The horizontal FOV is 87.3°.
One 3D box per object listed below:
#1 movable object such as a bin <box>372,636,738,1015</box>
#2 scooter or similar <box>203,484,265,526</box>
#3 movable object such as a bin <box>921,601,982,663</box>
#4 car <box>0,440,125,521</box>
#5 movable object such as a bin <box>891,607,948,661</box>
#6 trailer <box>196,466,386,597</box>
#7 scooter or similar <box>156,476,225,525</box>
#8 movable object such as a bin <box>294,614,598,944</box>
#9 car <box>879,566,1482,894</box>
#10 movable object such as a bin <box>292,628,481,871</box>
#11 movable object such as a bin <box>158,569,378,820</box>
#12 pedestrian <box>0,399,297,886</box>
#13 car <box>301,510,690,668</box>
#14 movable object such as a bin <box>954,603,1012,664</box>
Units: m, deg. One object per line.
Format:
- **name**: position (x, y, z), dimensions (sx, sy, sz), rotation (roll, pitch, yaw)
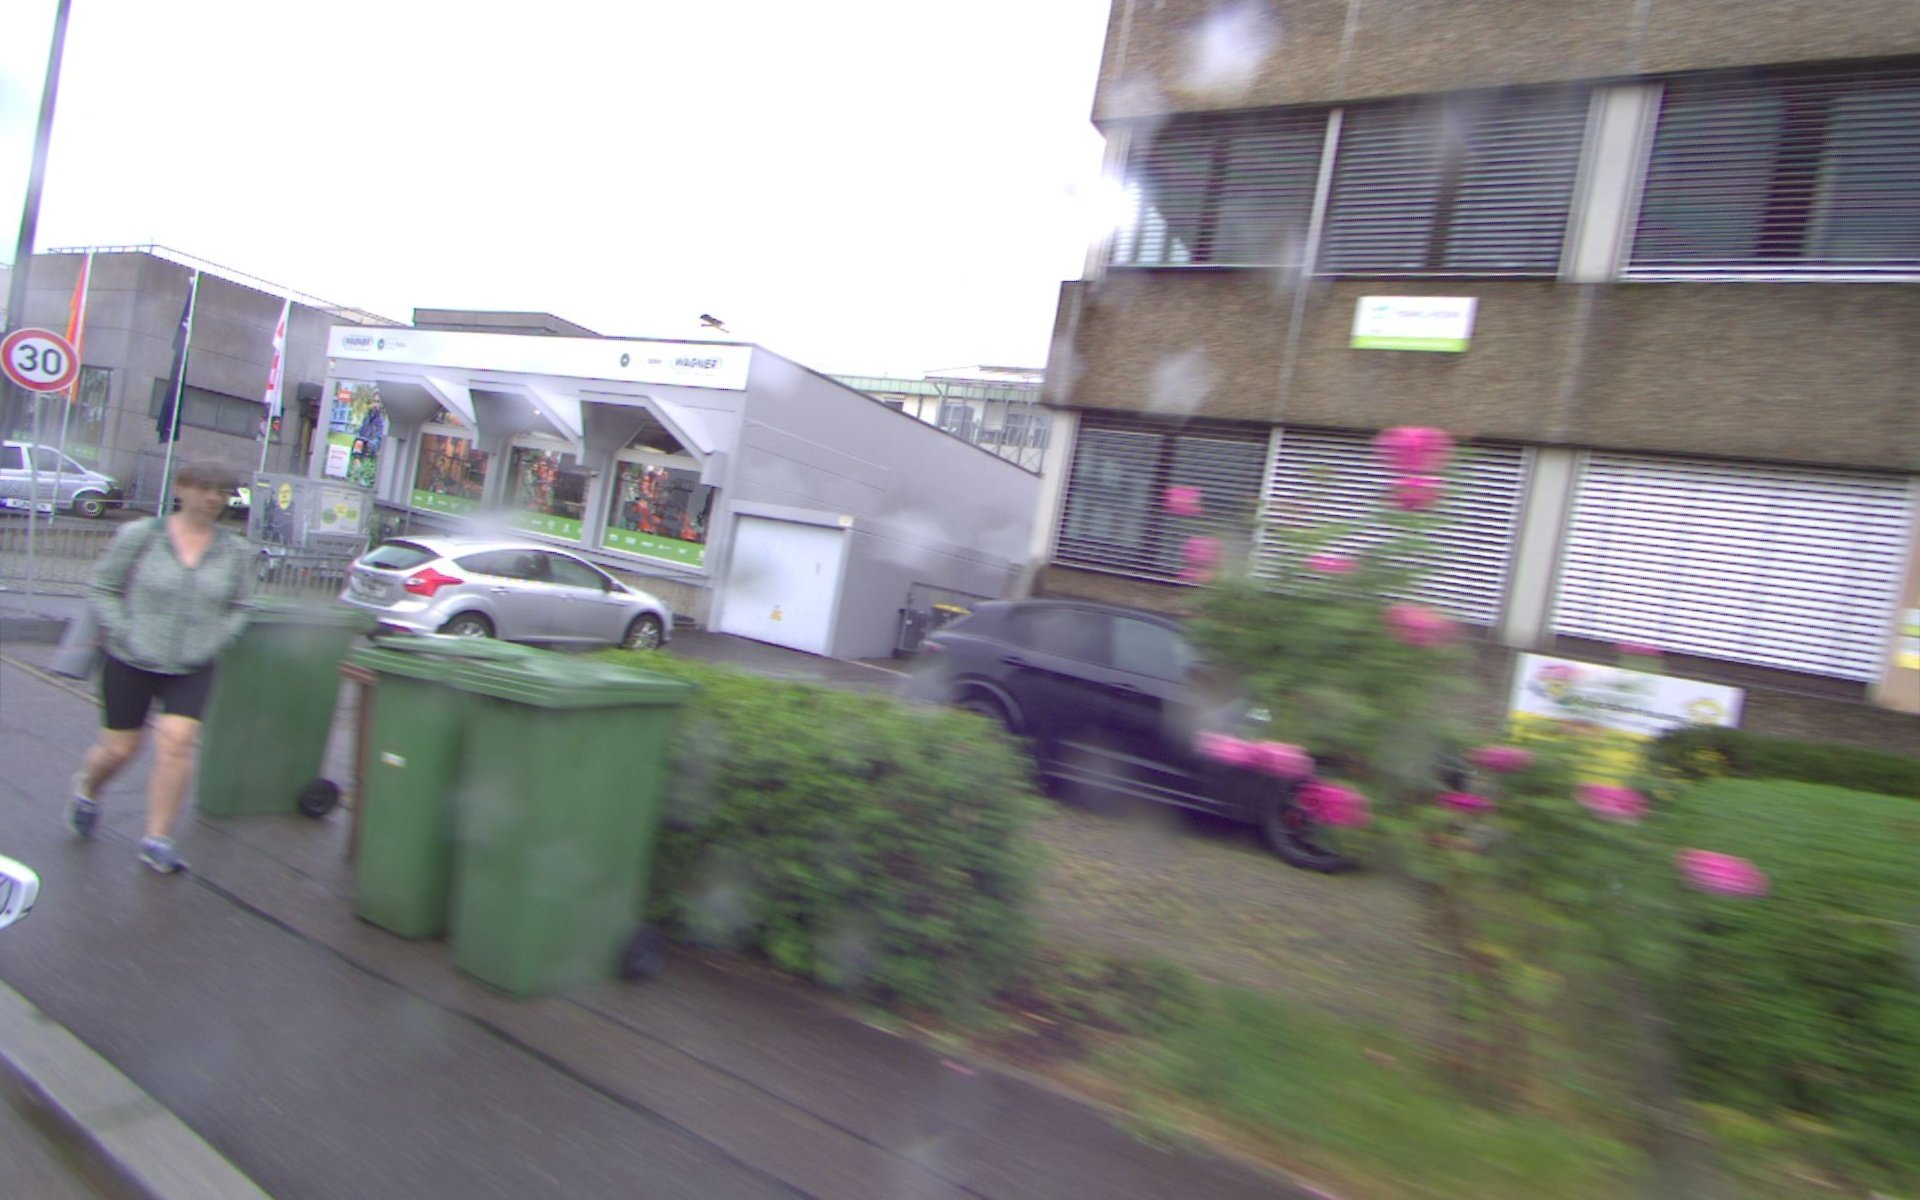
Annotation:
- **movable object such as a bin**: position (-1.407, 0.716, 3.547), dimensions (0.795, 1.042, 0.773), rotation (7, 0, 32)
- **scooter or similar**: position (-23.406, -3.055, 32.435), dimensions (1.815, 1.171, 1.003), rotation (7, 4, 33)
- **movable object such as a bin**: position (-0.151, 0.628, 19.566), dimensions (0.610, 1.094, 1.017), rotation (8, 1, 34)
- **car**: position (-25.574, -3.177, 26.303), dimensions (2.184, 2.044, 5.290), rotation (7, 7, 30)
- **movable object such as a bin**: position (-0.747, 0.631, 18.668), dimensions (0.610, 0.909, 0.803), rotation (8, 1, 34)
- **trailer**: position (-15.582, -1.609, 23.379), dimensions (4.236, 2.447, 1.889), rotation (8, 1, 32)
- **scooter or similar**: position (-23.975, -3.100, 31.352), dimensions (2.030, 1.242, 1.064), rotation (9, 5, 33)
- **movable object such as a bin**: position (-2.000, 0.653, 3.958), dimensions (0.626, 1.079, 0.744), rotation (7, 0, 32)
- **car**: position (1.711, 0.856, 8.309), dimensions (4.398, 1.771, 1.751), rotation (6, 0, 30)
- **movable object such as a bin**: position (-2.619, 0.659, 4.601), dimensions (0.506, 0.979, 0.473), rotation (7, 0, 32)
- **movable object such as a bin**: position (-3.538, 0.469, 5.143), dimensions (0.727, 1.127, 0.695), rotation (7, 0, -44)
- **pedestrian**: position (-3.463, 0.150, 4.198), dimensions (0.795, 1.788, 0.737), rotation (7, 0, 32)
- **car**: position (-5.778, -0.080, 13.038), dimensions (1.969, 1.594, 4.124), rotation (6, 1, 30)
- **movable object such as a bin**: position (0.482, 0.691, 20.571), dimensions (0.610, 1.153, 1.017), rotation (8, 1, 34)
